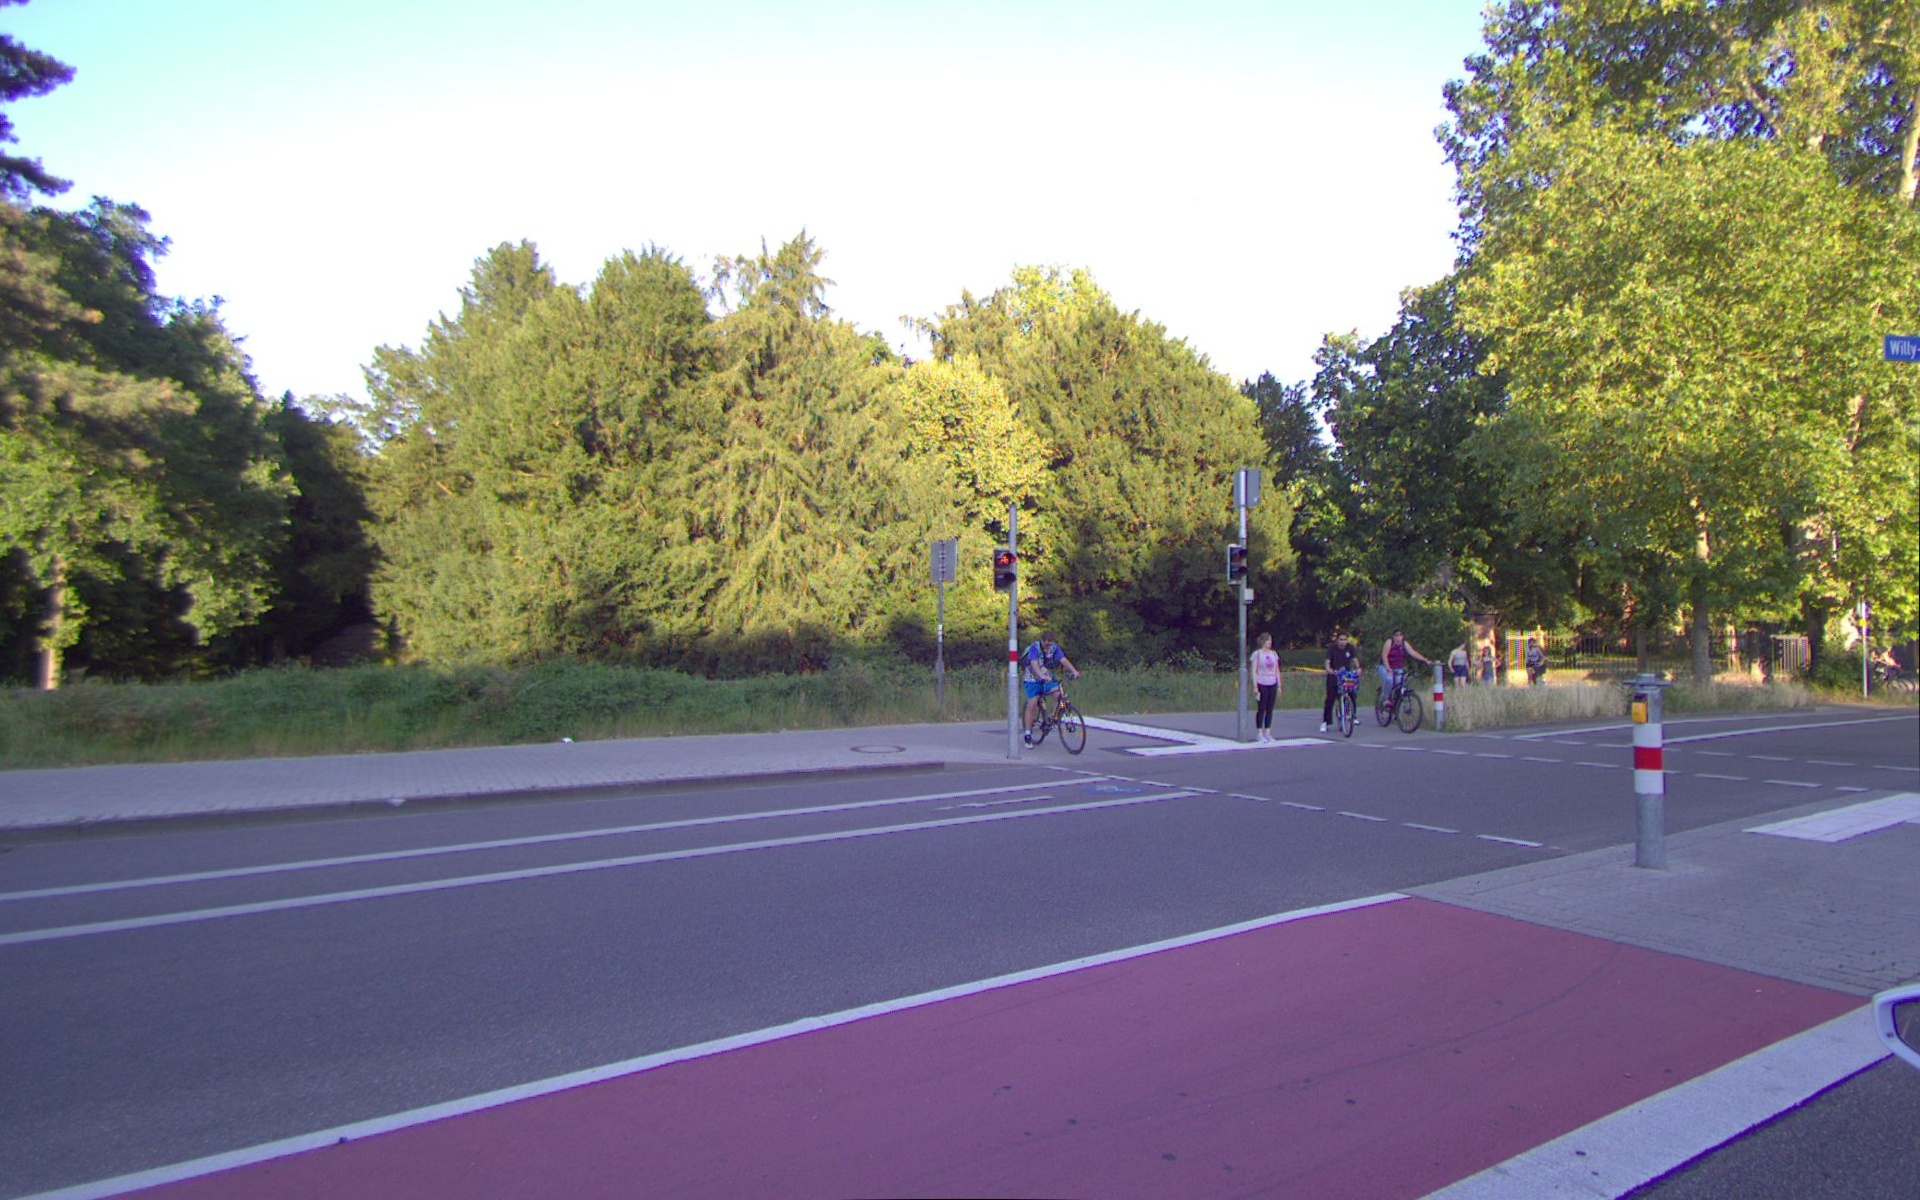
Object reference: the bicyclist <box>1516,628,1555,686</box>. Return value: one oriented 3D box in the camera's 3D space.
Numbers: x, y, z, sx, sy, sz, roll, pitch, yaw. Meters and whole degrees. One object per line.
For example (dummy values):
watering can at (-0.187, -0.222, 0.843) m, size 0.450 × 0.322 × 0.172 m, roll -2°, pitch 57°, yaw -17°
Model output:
bicyclist at (17.744, 1.733, 31.011) m, size 0.742 × 1.751 × 0.945 m, roll 1°, pitch -1°, yaw 8°

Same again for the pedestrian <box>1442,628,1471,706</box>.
pedestrian at (13.271, 1.775, 26.869) m, size 0.638 × 2.040 × 0.606 m, roll 0°, pitch -1°, yaw 22°

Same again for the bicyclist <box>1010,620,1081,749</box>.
bicyclist at (1.272, 1.235, 14.970) m, size 0.730 × 1.848 × 0.705 m, roll 2°, pitch -1°, yaw -33°

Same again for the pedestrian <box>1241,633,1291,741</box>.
pedestrian at (4.989, 1.406, 16.400) m, size 0.492 × 1.718 × 0.604 m, roll 1°, pitch -2°, yaw -28°

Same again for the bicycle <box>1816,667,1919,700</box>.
bicycle at (29.222, 2.670, 32.335) m, size 0.765 × 0.936 × 2.420 m, roll 1°, pitch -2°, yaw -29°

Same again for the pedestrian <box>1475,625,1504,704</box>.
pedestrian at (14.014, 1.688, 26.577) m, size 0.584 × 2.040 × 0.642 m, roll 0°, pitch -1°, yaw 20°

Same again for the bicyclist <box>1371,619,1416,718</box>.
bicyclist at (8.037, 1.258, 18.643) m, size 0.564 × 1.803 × 0.640 m, roll 0°, pitch -2°, yaw 1°

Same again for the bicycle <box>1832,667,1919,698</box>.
bicycle at (30.573, 2.711, 33.285) m, size 0.765 × 0.936 × 2.420 m, roll 1°, pitch -2°, yaw -29°

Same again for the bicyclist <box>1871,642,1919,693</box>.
bicyclist at (30.729, 2.204, 33.008) m, size 0.743 × 1.652 × 0.954 m, roll 1°, pitch -2°, yaw -29°

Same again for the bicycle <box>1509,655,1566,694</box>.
bicycle at (17.766, 2.272, 30.941) m, size 0.727 × 1.046 × 2.299 m, roll 1°, pitch -1°, yaw 9°

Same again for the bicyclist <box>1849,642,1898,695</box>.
bicyclist at (29.298, 2.171, 32.220) m, size 0.743 × 1.652 × 0.954 m, roll 1°, pitch -2°, yaw -29°

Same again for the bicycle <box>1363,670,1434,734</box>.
bicycle at (8.027, 1.845, 18.454) m, size 0.568 × 1.043 × 1.772 m, roll 0°, pitch -2°, yaw 1°

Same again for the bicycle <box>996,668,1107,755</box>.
bicycle at (1.310, 1.606, 14.866) m, size 0.761 × 1.115 × 2.112 m, roll 1°, pitch -2°, yaw -22°

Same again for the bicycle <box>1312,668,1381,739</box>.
bicycle at (6.678, 1.774, 17.432) m, size 0.620 × 1.126 × 1.569 m, roll 0°, pitch -2°, yaw 1°

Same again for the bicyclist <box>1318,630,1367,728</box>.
bicyclist at (6.684, 1.372, 17.580) m, size 0.618 × 1.671 × 0.640 m, roll 0°, pitch -2°, yaw 1°

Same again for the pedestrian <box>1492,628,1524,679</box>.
pedestrian at (22.393, 2.175, 41.065) m, size 1.067 × 2.040 × 0.755 m, roll 1°, pitch -1°, yaw -36°
